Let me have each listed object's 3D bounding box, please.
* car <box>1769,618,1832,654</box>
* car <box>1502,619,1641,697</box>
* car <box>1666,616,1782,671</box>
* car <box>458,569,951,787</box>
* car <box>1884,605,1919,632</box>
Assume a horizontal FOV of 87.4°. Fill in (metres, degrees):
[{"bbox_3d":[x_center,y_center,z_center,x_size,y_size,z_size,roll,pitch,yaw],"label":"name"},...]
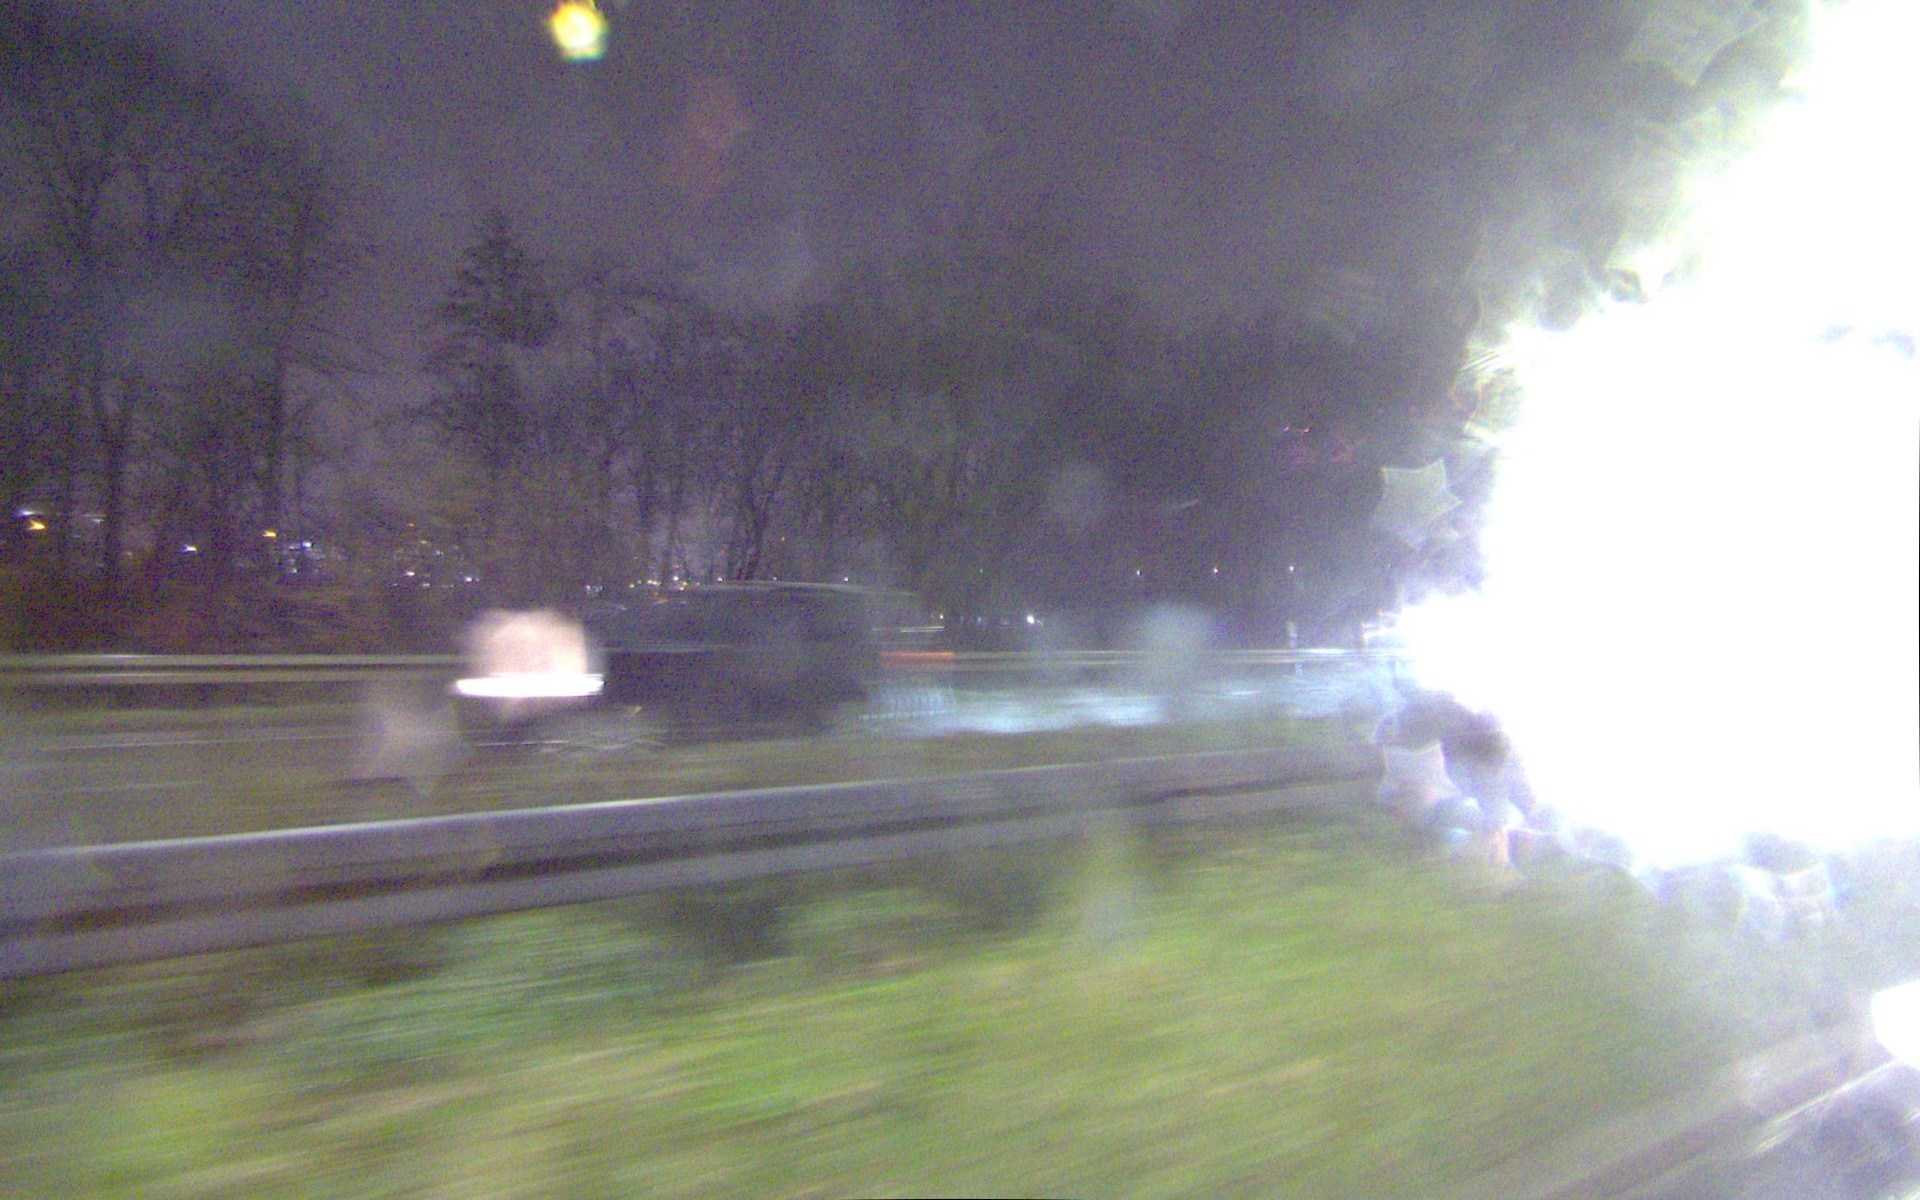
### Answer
[{"bbox_3d":[37.117,1.601,44.341,3.914,1.515,1.718,2,-3,-44],"label":"car"},{"bbox_3d":[14.004,1.251,22.954,3.481,1.592,1.831,1,0,-43],"label":"car"},{"bbox_3d":[24.124,1.366,31.679,4.518,1.614,1.762,2,-2,-37],"label":"car"},{"bbox_3d":[-2.316,0.621,9.559,4.207,1.653,1.754,1,0,-35],"label":"car"},{"bbox_3d":[65.685,1.312,69.778,1.970,1.744,3.981,2,0,40],"label":"car"}]
